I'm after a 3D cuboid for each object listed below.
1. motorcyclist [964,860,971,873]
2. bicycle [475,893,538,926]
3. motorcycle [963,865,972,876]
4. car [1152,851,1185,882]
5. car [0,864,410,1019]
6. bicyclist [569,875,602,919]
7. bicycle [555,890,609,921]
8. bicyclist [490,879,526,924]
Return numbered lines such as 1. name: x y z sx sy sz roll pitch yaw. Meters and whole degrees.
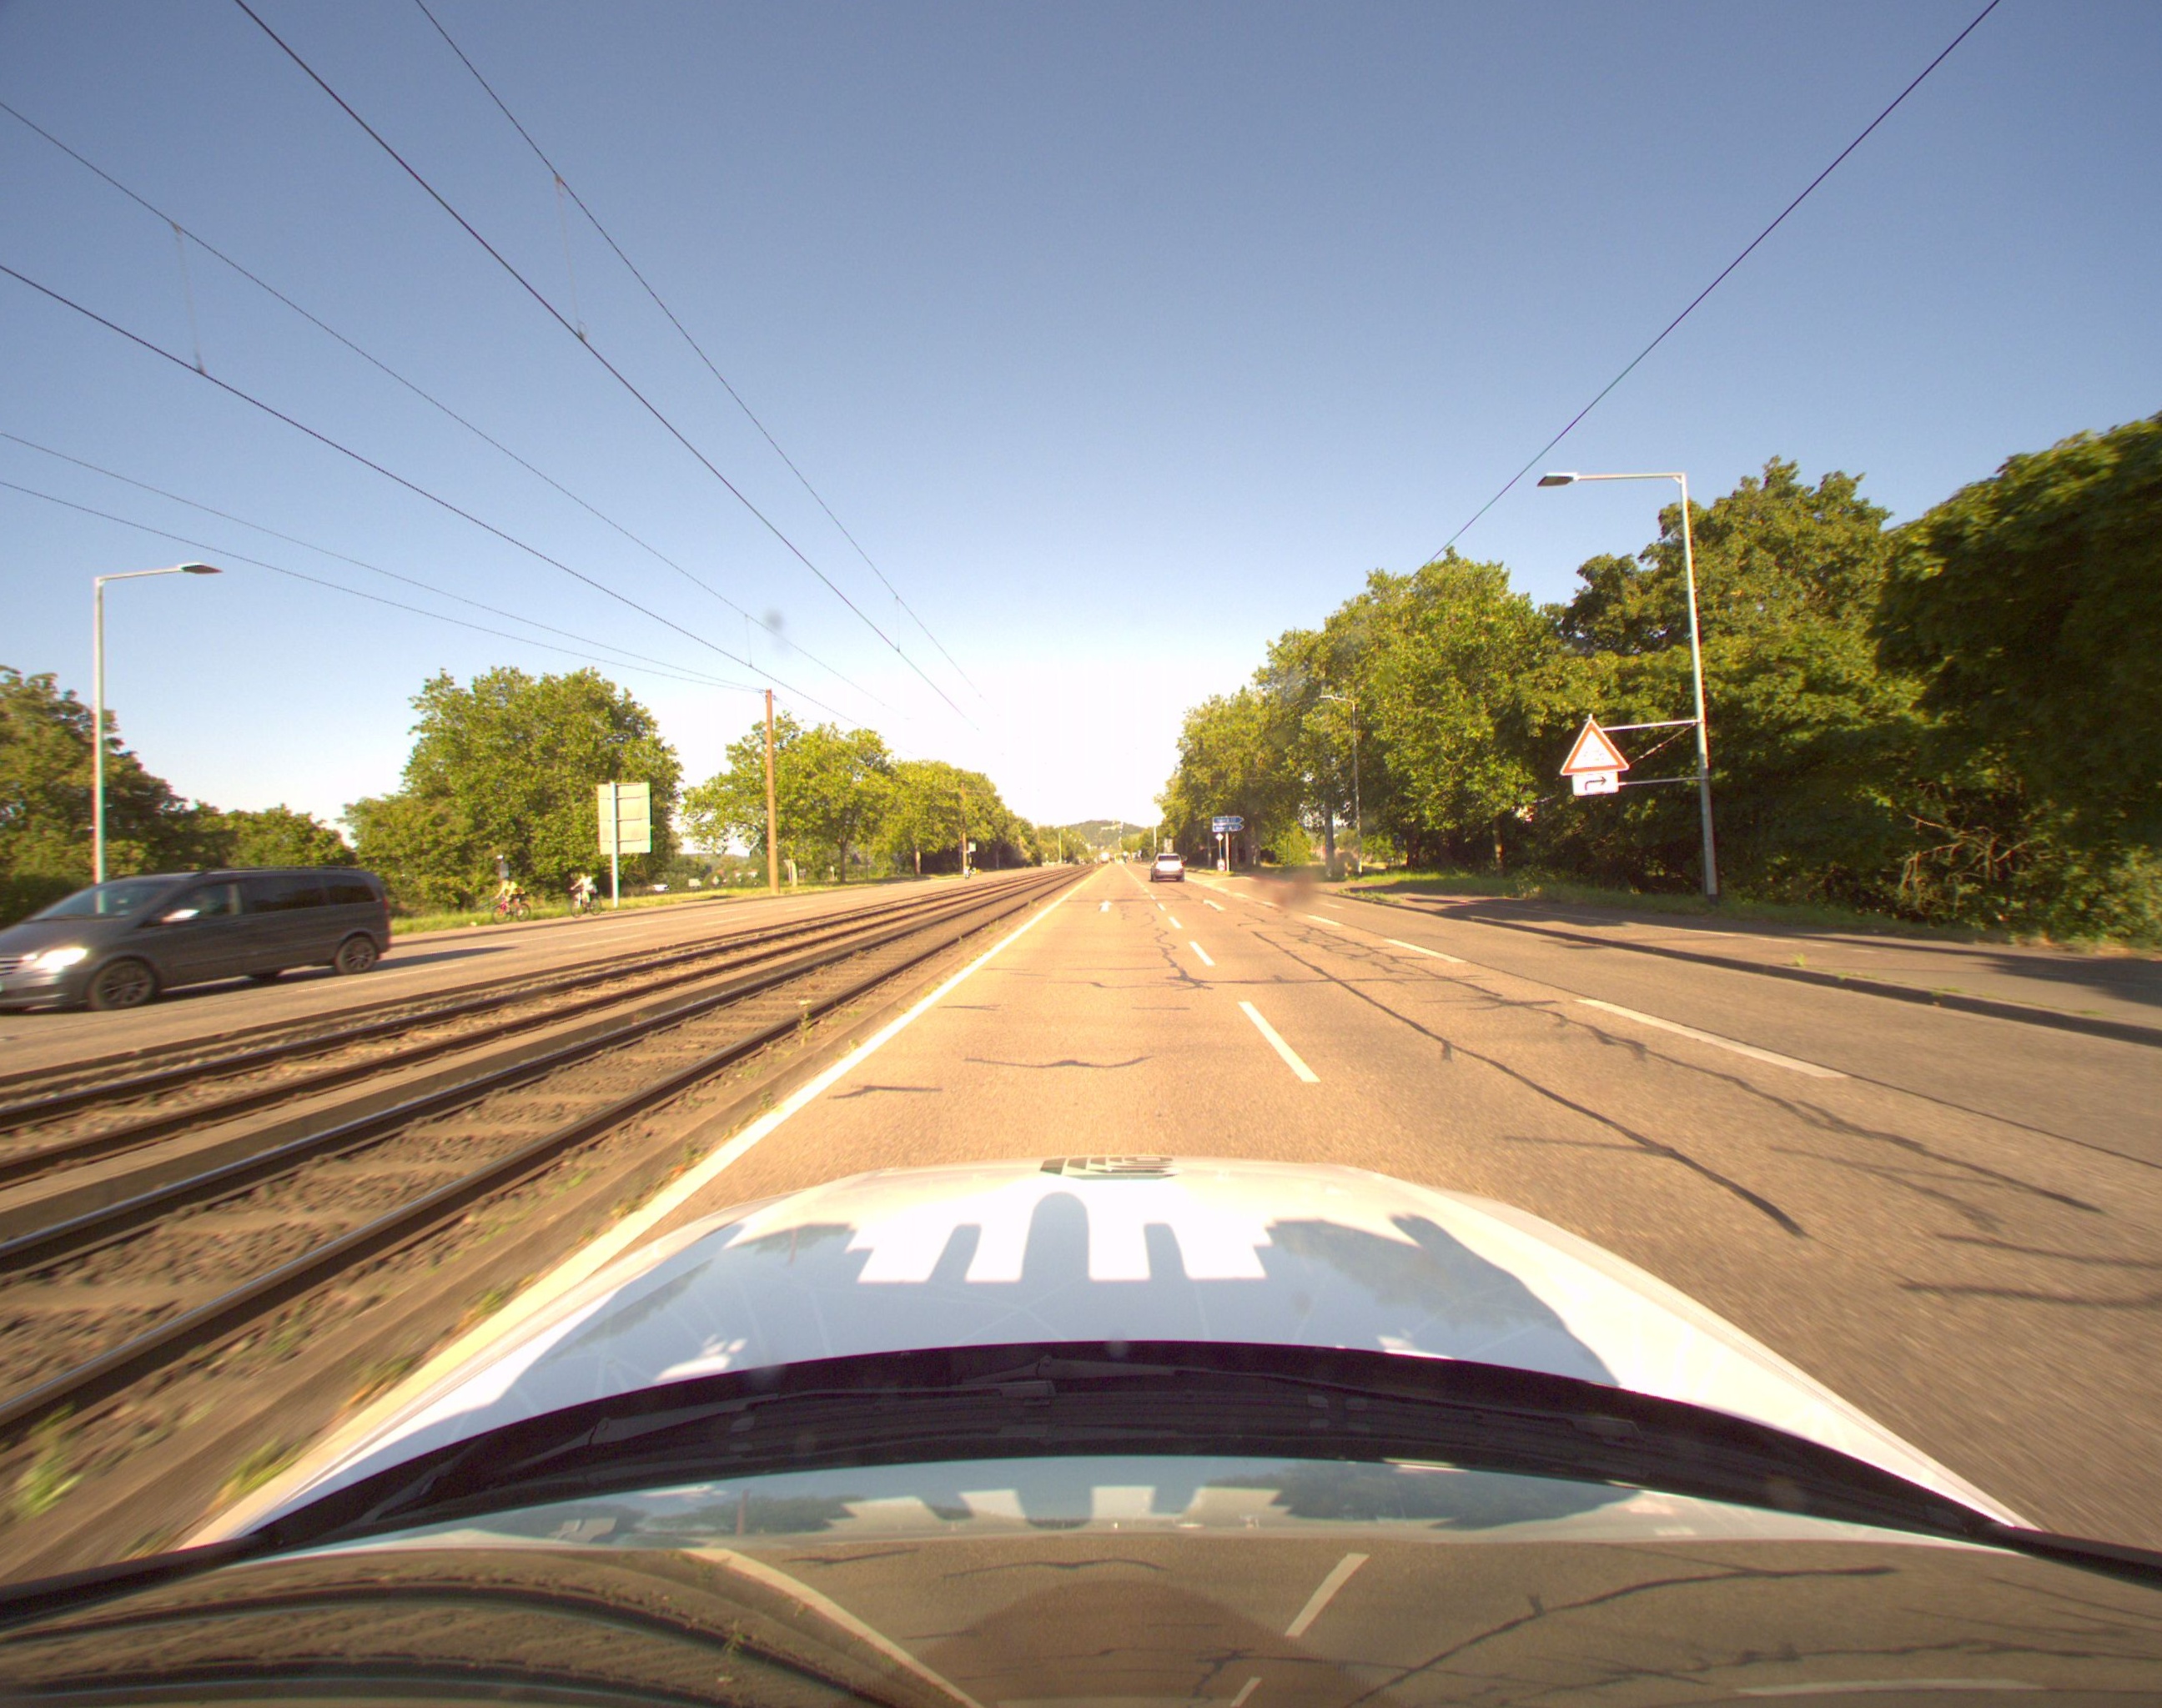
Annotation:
1. motorcyclist: -11.182 1.250 79.954 0.533 1.270 0.805 0 -1 2
2. bicycle: -20.144 1.937 28.606 0.588 1.022 2.186 -2 -1 2
3. motorcycle: -11.176 1.591 79.961 0.533 1.091 1.903 0 -1 2
4. car: 5.187 0.740 48.772 1.879 1.693 4.262 -1 -1 5
5. car: -13.691 1.160 12.805 1.985 1.923 4.865 -2 -1 4
6. bicyclist: -18.624 1.607 30.640 0.588 1.611 0.967 -2 -1 2
7. bicycle: -18.627 1.899 30.460 0.588 1.022 2.186 -2 -1 2
8. bicyclist: -20.147 1.658 28.642 0.588 1.528 0.906 -2 -1 2
